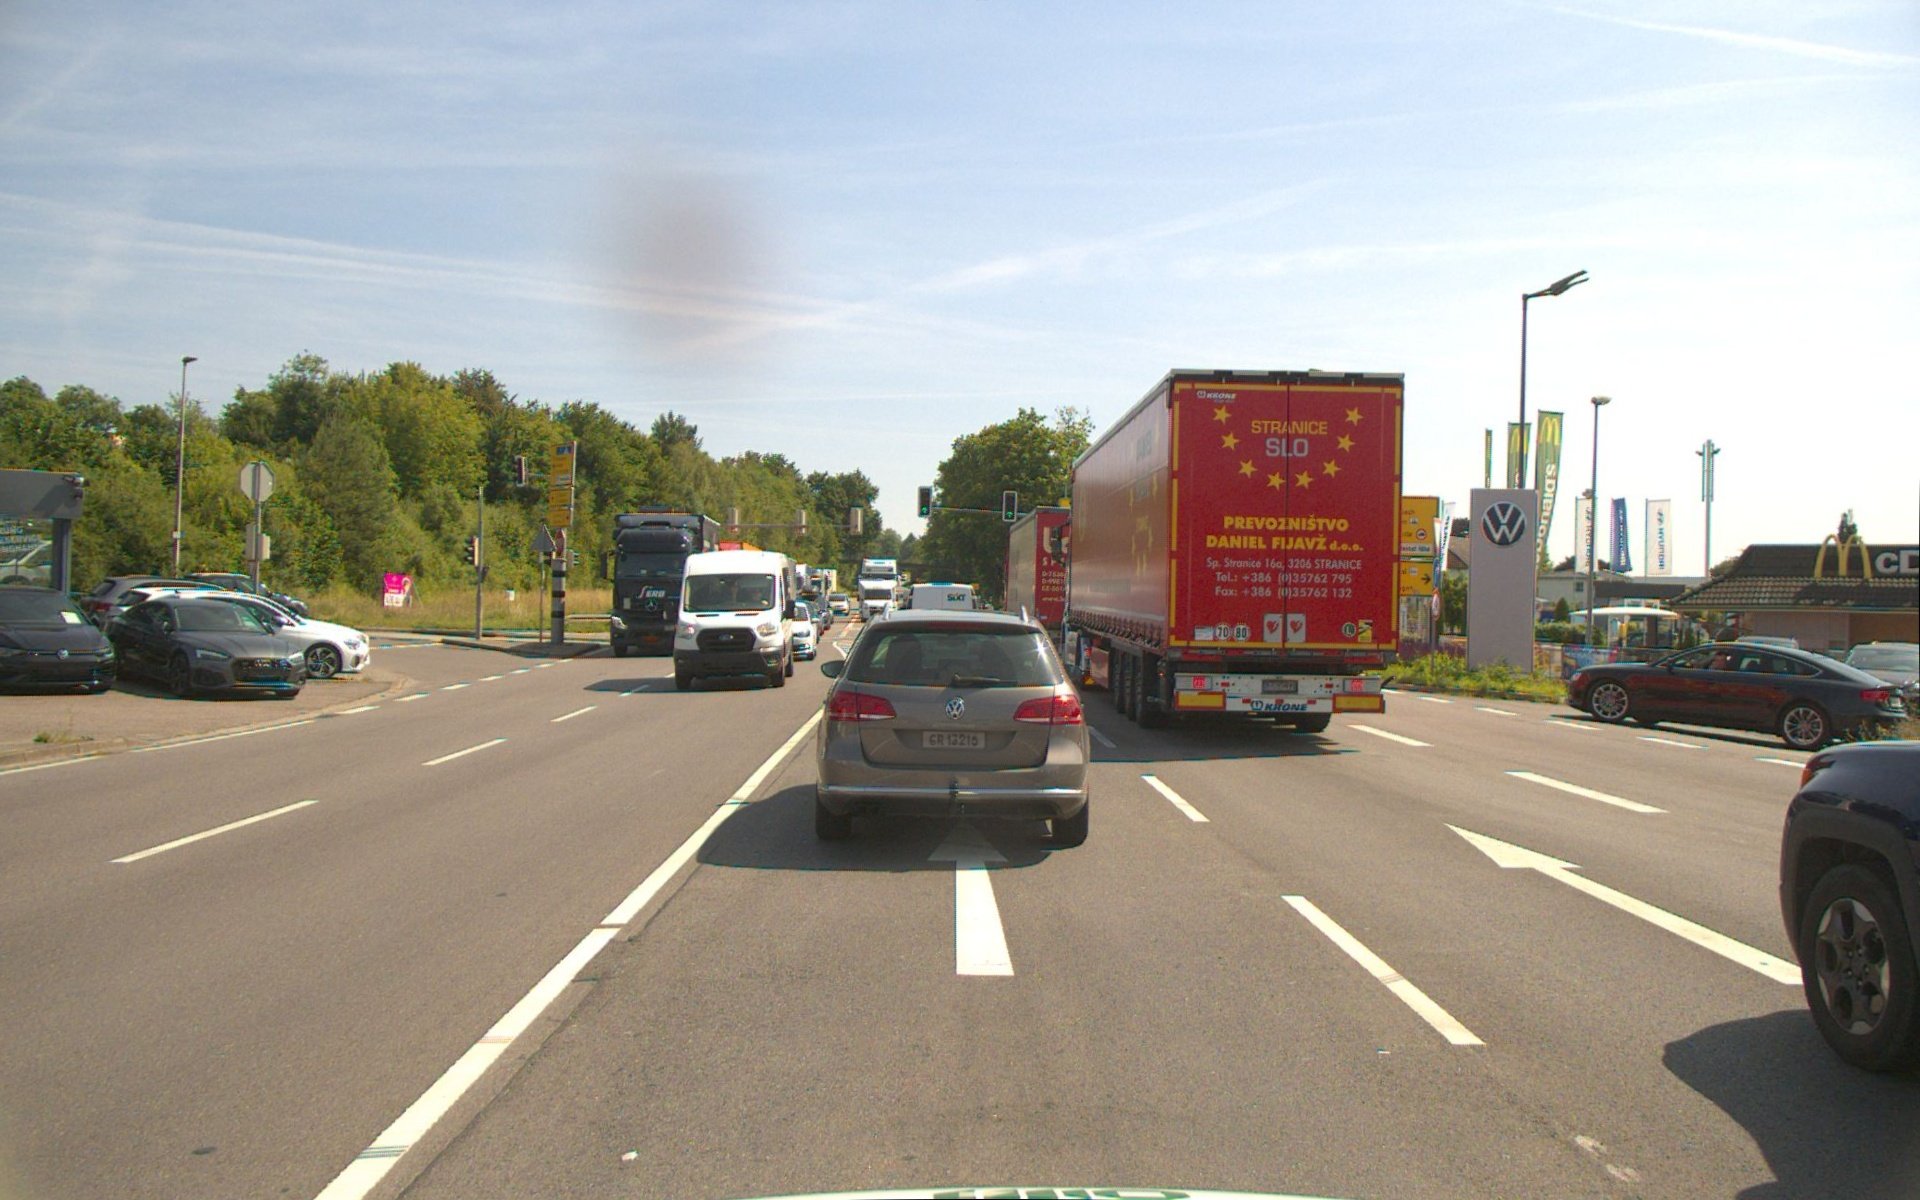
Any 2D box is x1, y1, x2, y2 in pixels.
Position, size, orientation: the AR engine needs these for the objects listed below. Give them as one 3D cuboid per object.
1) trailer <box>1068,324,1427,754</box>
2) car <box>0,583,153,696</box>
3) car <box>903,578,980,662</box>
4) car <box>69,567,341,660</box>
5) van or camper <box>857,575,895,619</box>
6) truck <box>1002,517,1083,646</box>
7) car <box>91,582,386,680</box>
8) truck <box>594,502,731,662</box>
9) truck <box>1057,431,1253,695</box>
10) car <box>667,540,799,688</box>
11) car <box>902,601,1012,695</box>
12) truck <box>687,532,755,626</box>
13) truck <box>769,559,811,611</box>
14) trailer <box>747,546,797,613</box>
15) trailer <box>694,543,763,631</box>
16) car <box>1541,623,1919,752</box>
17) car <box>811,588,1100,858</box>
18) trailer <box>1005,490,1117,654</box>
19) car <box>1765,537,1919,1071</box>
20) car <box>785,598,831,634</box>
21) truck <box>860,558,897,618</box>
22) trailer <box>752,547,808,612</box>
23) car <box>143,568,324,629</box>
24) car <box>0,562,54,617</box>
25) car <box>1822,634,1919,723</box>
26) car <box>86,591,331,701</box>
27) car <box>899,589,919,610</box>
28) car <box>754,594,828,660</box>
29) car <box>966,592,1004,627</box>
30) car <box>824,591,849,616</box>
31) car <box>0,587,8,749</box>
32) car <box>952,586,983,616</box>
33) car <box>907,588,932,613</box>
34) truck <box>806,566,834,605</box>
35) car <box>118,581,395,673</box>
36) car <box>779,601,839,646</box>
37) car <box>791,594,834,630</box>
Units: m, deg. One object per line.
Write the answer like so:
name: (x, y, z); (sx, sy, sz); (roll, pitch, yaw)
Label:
trailer: (3.479, -0.643, 24.119); (2.781, 4.441, 13.166); (2, 0, 0)
car: (-14.244, 0.547, 25.462); (4.268, 1.512, 1.788); (3, 1, 42)
car: (-0.504, 0.477, 41.298); (1.735, 1.970, 3.975); (0, 0, -3)
car: (-15.684, 0.312, 34.522); (4.757, 1.654, 1.902); (4, -2, -43)
van or camper: (-5.229, -0.172, 104.025); (2.283, 2.646, 6.975); (0, 0, -2)
truck: (2.759, -0.599, 56.496); (2.357, 4.200, 5.520); (0, 0, -1)
car: (-13.211, 0.586, 30.411); (4.661, 1.501, 1.870); (4, -1, -35)
truck: (-8.284, -0.447, 47.231); (2.657, 4.068, 9.969); (0, 0, -4)
truck: (3.470, -0.627, 30.954); (2.811, 4.355, 5.838); (2, 0, 0)
car: (-4.278, 0.250, 32.246); (2.018, 2.554, 7.109); (0, 0, -4)
car: (-0.120, 0.799, 29.303); (1.735, 1.539, 3.997); (0, 0, -3)
truck: (-10.770, -0.896, 75.007); (2.667, 4.068, 6.051); (0, 0, -5)
truck: (-13.767, -1.199, 134.287); (3.124, 4.151, 6.341); (0, 0, -3)
trailer: (-12.128, -1.311, 106.926); (2.591, 4.177, 6.179); (0, 0, -1)
trailer: (-11.402, -0.606, 82.369); (2.667, 4.068, 12.222); (0, 0, -5)
car: (11.281, 1.246, 24.334); (4.737, 1.355, 1.952); (5, -1, 44)
car: (-0.133, 0.704, 11.482); (1.658, 1.539, 3.997); (0, 0, -3)
trailer: (2.856, -0.737, 50.274); (2.346, 4.317, 13.074); (0, 0, -1)
car: (3.912, 0.649, 4.211); (1.734, 1.683, 3.999); (0, 0, -1)
car: (-7.031, 0.730, 76.734); (1.824, 1.550, 4.587); (-1, 1, -1)
truck: (-5.813, -0.822, 117.708); (2.487, 4.159, 6.260); (0, 0, -4)
trailer: (-12.286, -1.322, 113.839); (2.637, 4.220, 13.875); (0, 0, -1)
car: (-21.938, -0.025, 50.040); (1.883, 1.554, 4.604); (2, -1, 44)
car: (-27.337, -0.380, 44.375); (1.917, 1.444, 4.939); (0, -3, 44)
car: (18.320, 1.506, 32.775); (1.740, 1.559, 4.076); (0, 0, 34)
car: (-12.143, 0.688, 26.590); (4.560, 1.461, 1.962); (3, 1, 43)
car: (-5.104, -0.022, 165.621); (1.954, 2.049, 3.997); (0, 0, -3)
car: (-4.348, 0.672, 43.033); (1.620, 1.583, 3.998); (-1, 0, -2)
car: (1.477, 0.538, 98.921); (1.954, 2.049, 3.997); (0, 0, -3)
car: (-9.643, 0.255, 129.011); (1.806, 1.763, 4.586); (2, 1, -3)
car: (-11.898, 0.687, 16.457); (4.123, 1.651, 2.011); (0, 0, -29)
car: (0.514, 0.058, 116.581); (1.954, 2.049, 3.997); (0, 0, -3)
car: (-3.366, 0.064, 137.165); (1.954, 2.049, 3.997); (0, 0, -3)
truck: (-14.868, -1.529, 176.014); (2.675, 4.069, 9.613); (0, 0, -3)
car: (-13.947, 0.569, 32.950); (4.674, 1.539, 1.926); (4, -1, -42)
car: (-5.261, 0.782, 57.906); (1.676, 1.469, 4.378); (-1, 0, 0)
car: (-7.089, 0.540, 79.962); (1.870, 1.630, 4.586); (-1, 1, -3)
